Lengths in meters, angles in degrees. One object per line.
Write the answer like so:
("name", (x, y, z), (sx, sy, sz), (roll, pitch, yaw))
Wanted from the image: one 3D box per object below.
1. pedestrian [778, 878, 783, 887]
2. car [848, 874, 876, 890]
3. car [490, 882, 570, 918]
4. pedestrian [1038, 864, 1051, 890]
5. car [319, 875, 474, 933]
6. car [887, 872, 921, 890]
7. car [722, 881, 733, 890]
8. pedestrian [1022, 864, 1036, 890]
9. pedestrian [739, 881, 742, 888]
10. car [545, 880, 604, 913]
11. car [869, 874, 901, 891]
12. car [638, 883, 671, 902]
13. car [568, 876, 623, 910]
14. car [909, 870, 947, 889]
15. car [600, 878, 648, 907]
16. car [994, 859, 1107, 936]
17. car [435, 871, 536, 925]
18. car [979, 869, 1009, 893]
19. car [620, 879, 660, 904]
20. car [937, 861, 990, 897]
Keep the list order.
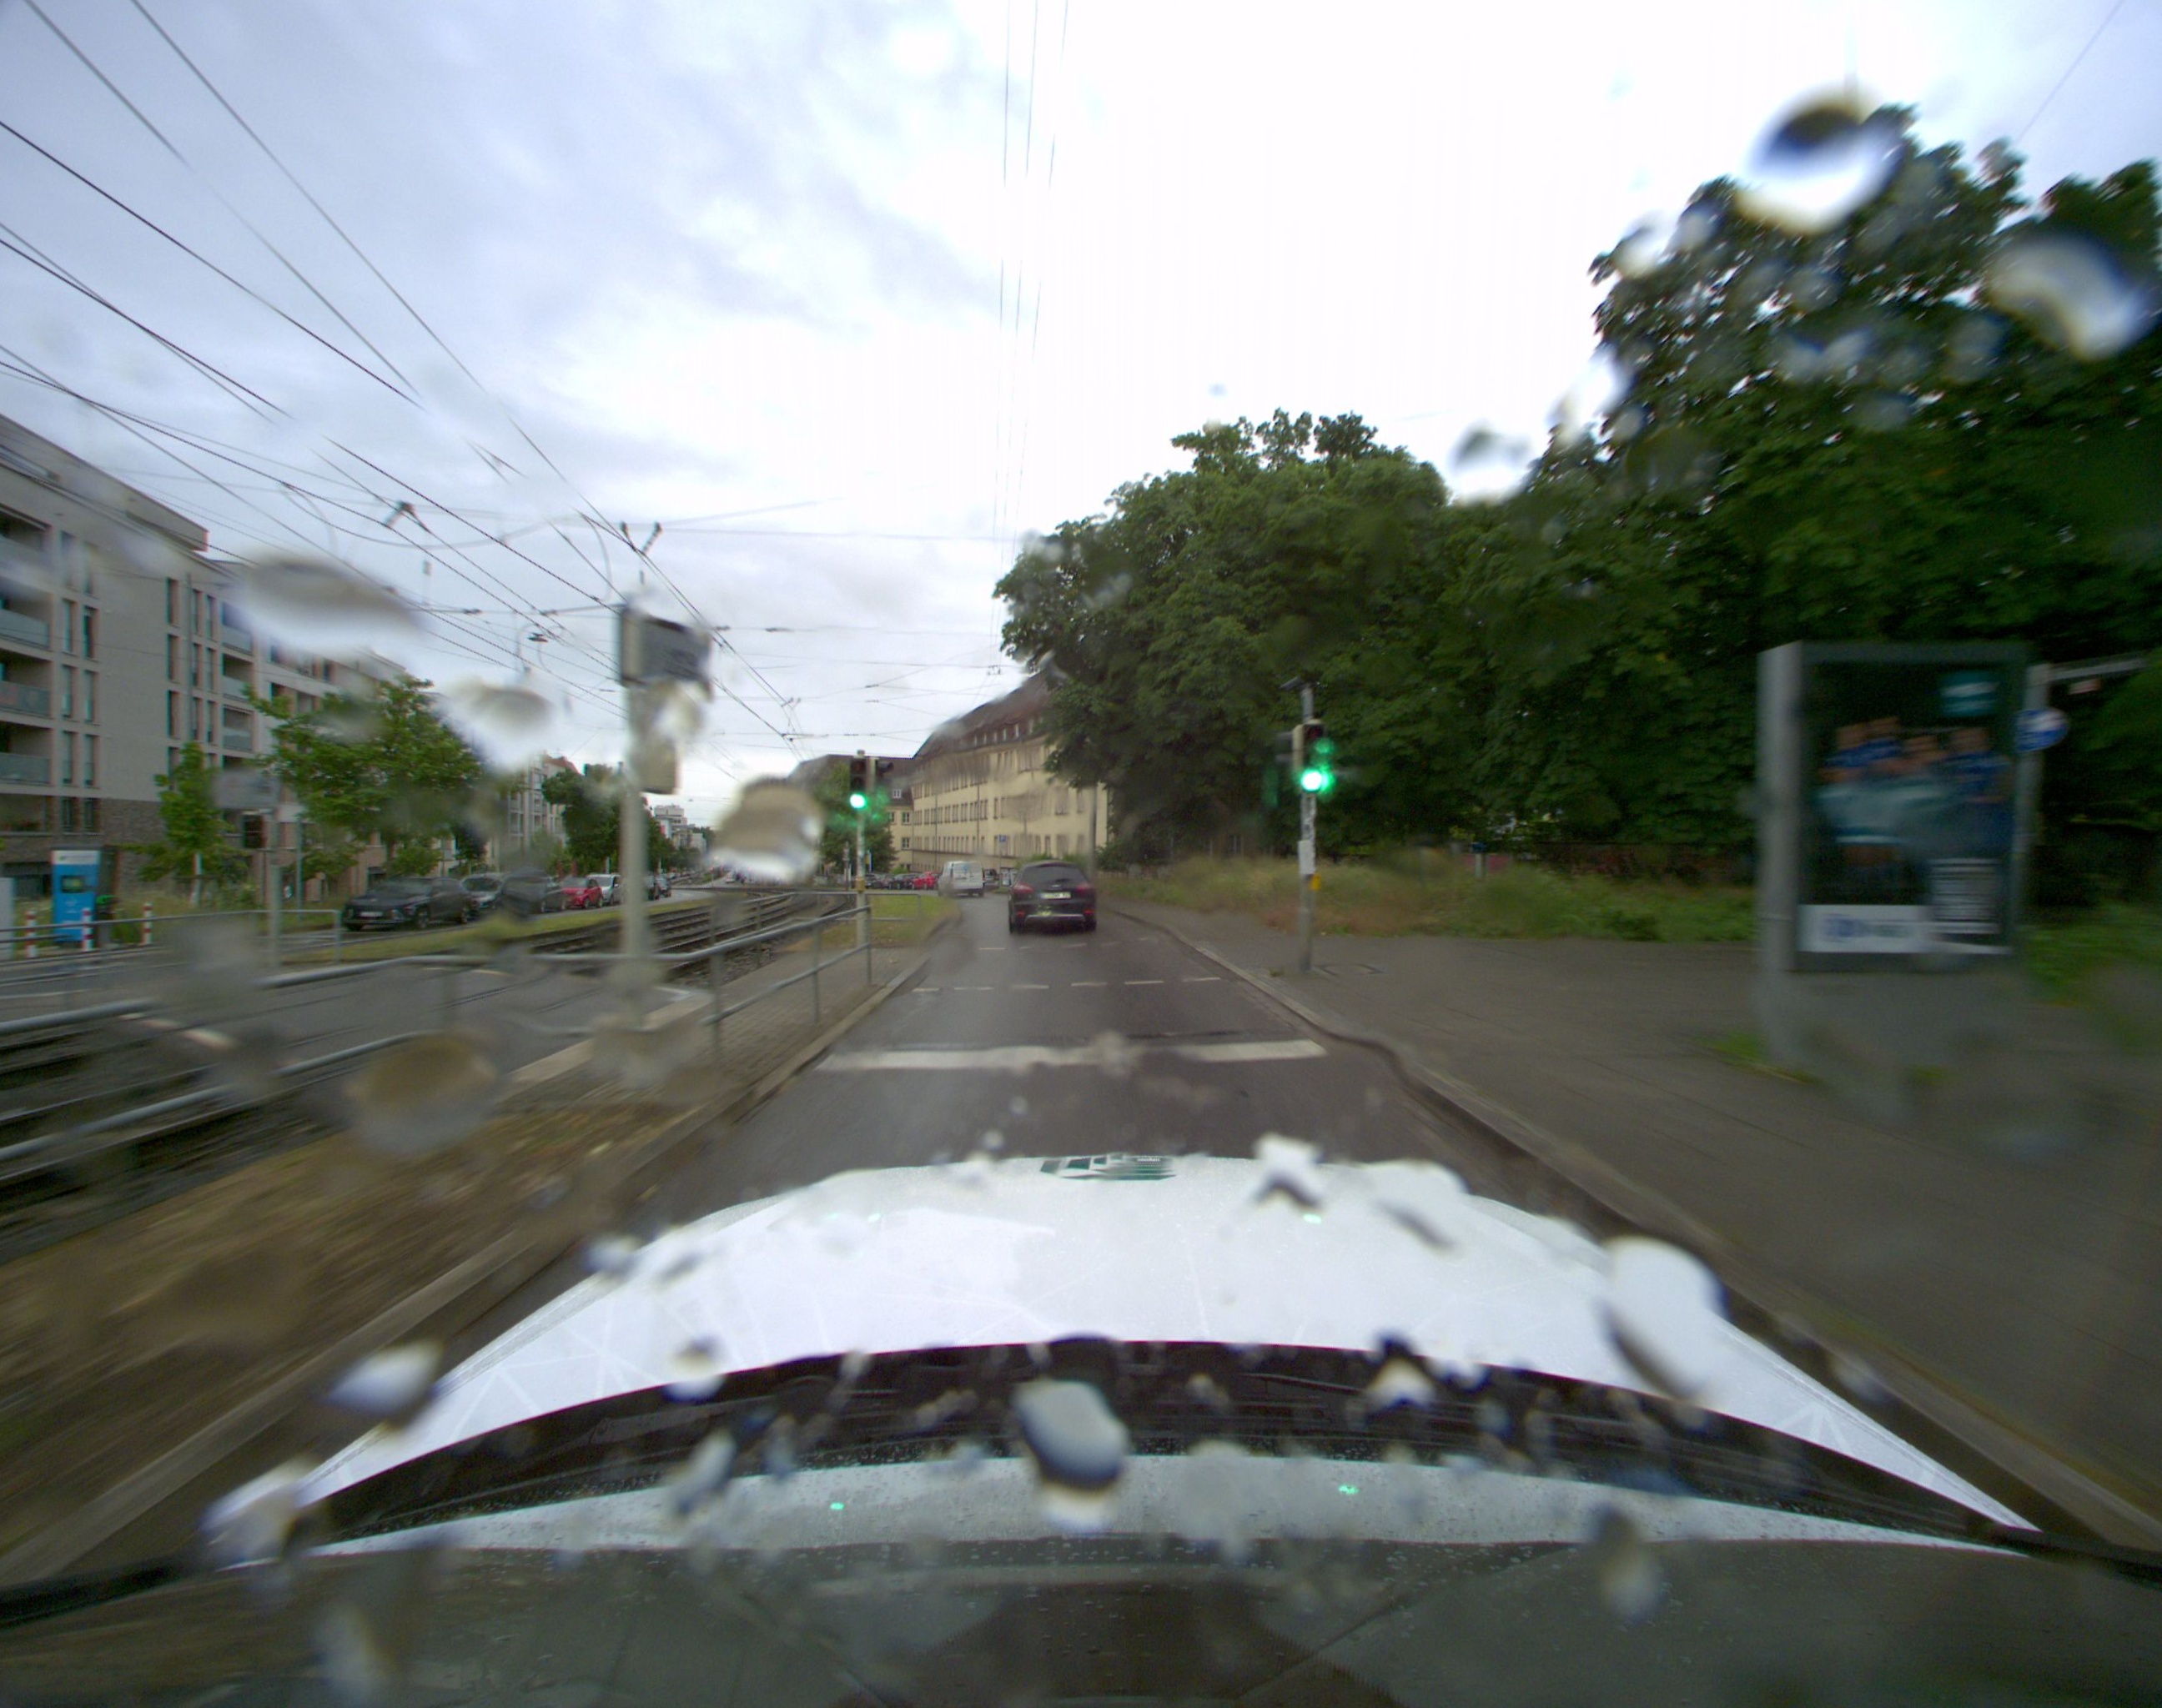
("pedestrian", (-45.330, 4.273, 122.840), (0.508, 1.316, 0.506), (0, -2, -33))
("car", (-21.950, 2.821, 81.588), (1.676, 1.524, 4.069), (-2, -1, -30))
("car", (-23.887, 1.966, 35.460), (1.553, 1.447, 4.375), (1, -2, -16))
("pedestrian", (-2.570, 1.611, 57.262), (0.720, 1.755, 0.734), (-2, -1, -21))
("car", (-20.975, 1.514, 25.227), (1.997, 1.605, 4.192), (2, -3, -15))
("car", (-15.590, 2.405, 71.678), (1.676, 1.476, 4.414), (-2, -1, -30))
("car", (-72.233, 6.460, 166.358), (2.001, 1.772, 3.970), (0, -2, -22))
("pedestrian", (-3.616, 1.619, 56.802), (0.720, 1.755, 0.734), (-2, -1, -21))
("pedestrian", (-63.051, 5.689, 150.856), (0.512, 1.316, 0.501), (0, -2, -31))
("car", (-24.738, 2.048, 39.859), (1.470, 1.531, 2.918), (1, -2, -12))
("car", (-18.486, 2.685, 76.772), (1.677, 1.476, 4.066), (-2, -1, -32))
("car", (-33.952, 3.068, 64.897), (1.975, 1.431, 4.165), (0, -2, -24))
("car", (-26.391, 2.077, 44.400), (1.668, 1.748, 4.230), (0, -2, -18))
("car", (-12.628, 2.097, 67.088), (1.677, 1.477, 4.023), (1, -3, -34))
("car", (-27.824, 2.307, 49.713), (1.737, 1.644, 4.502), (0, -2, -19))
("car", (-0.795, 0.894, 18.169), (1.921, 1.479, 3.985), (-1, -1, -11))
("car", (-22.218, 1.600, 30.581), (1.584, 1.860, 4.308), (1, -2, -16))
("car", (-5.767, 1.759, 53.741), (1.599, 1.465, 2.708), (-2, -1, -13))
("car", (-29.729, 2.520, 55.020), (1.810, 1.584, 4.664), (0, -2, -21))
("car", (-6.258, 1.316, 43.018), (2.142, 1.745, 4.194), (-1, -1, -17))
